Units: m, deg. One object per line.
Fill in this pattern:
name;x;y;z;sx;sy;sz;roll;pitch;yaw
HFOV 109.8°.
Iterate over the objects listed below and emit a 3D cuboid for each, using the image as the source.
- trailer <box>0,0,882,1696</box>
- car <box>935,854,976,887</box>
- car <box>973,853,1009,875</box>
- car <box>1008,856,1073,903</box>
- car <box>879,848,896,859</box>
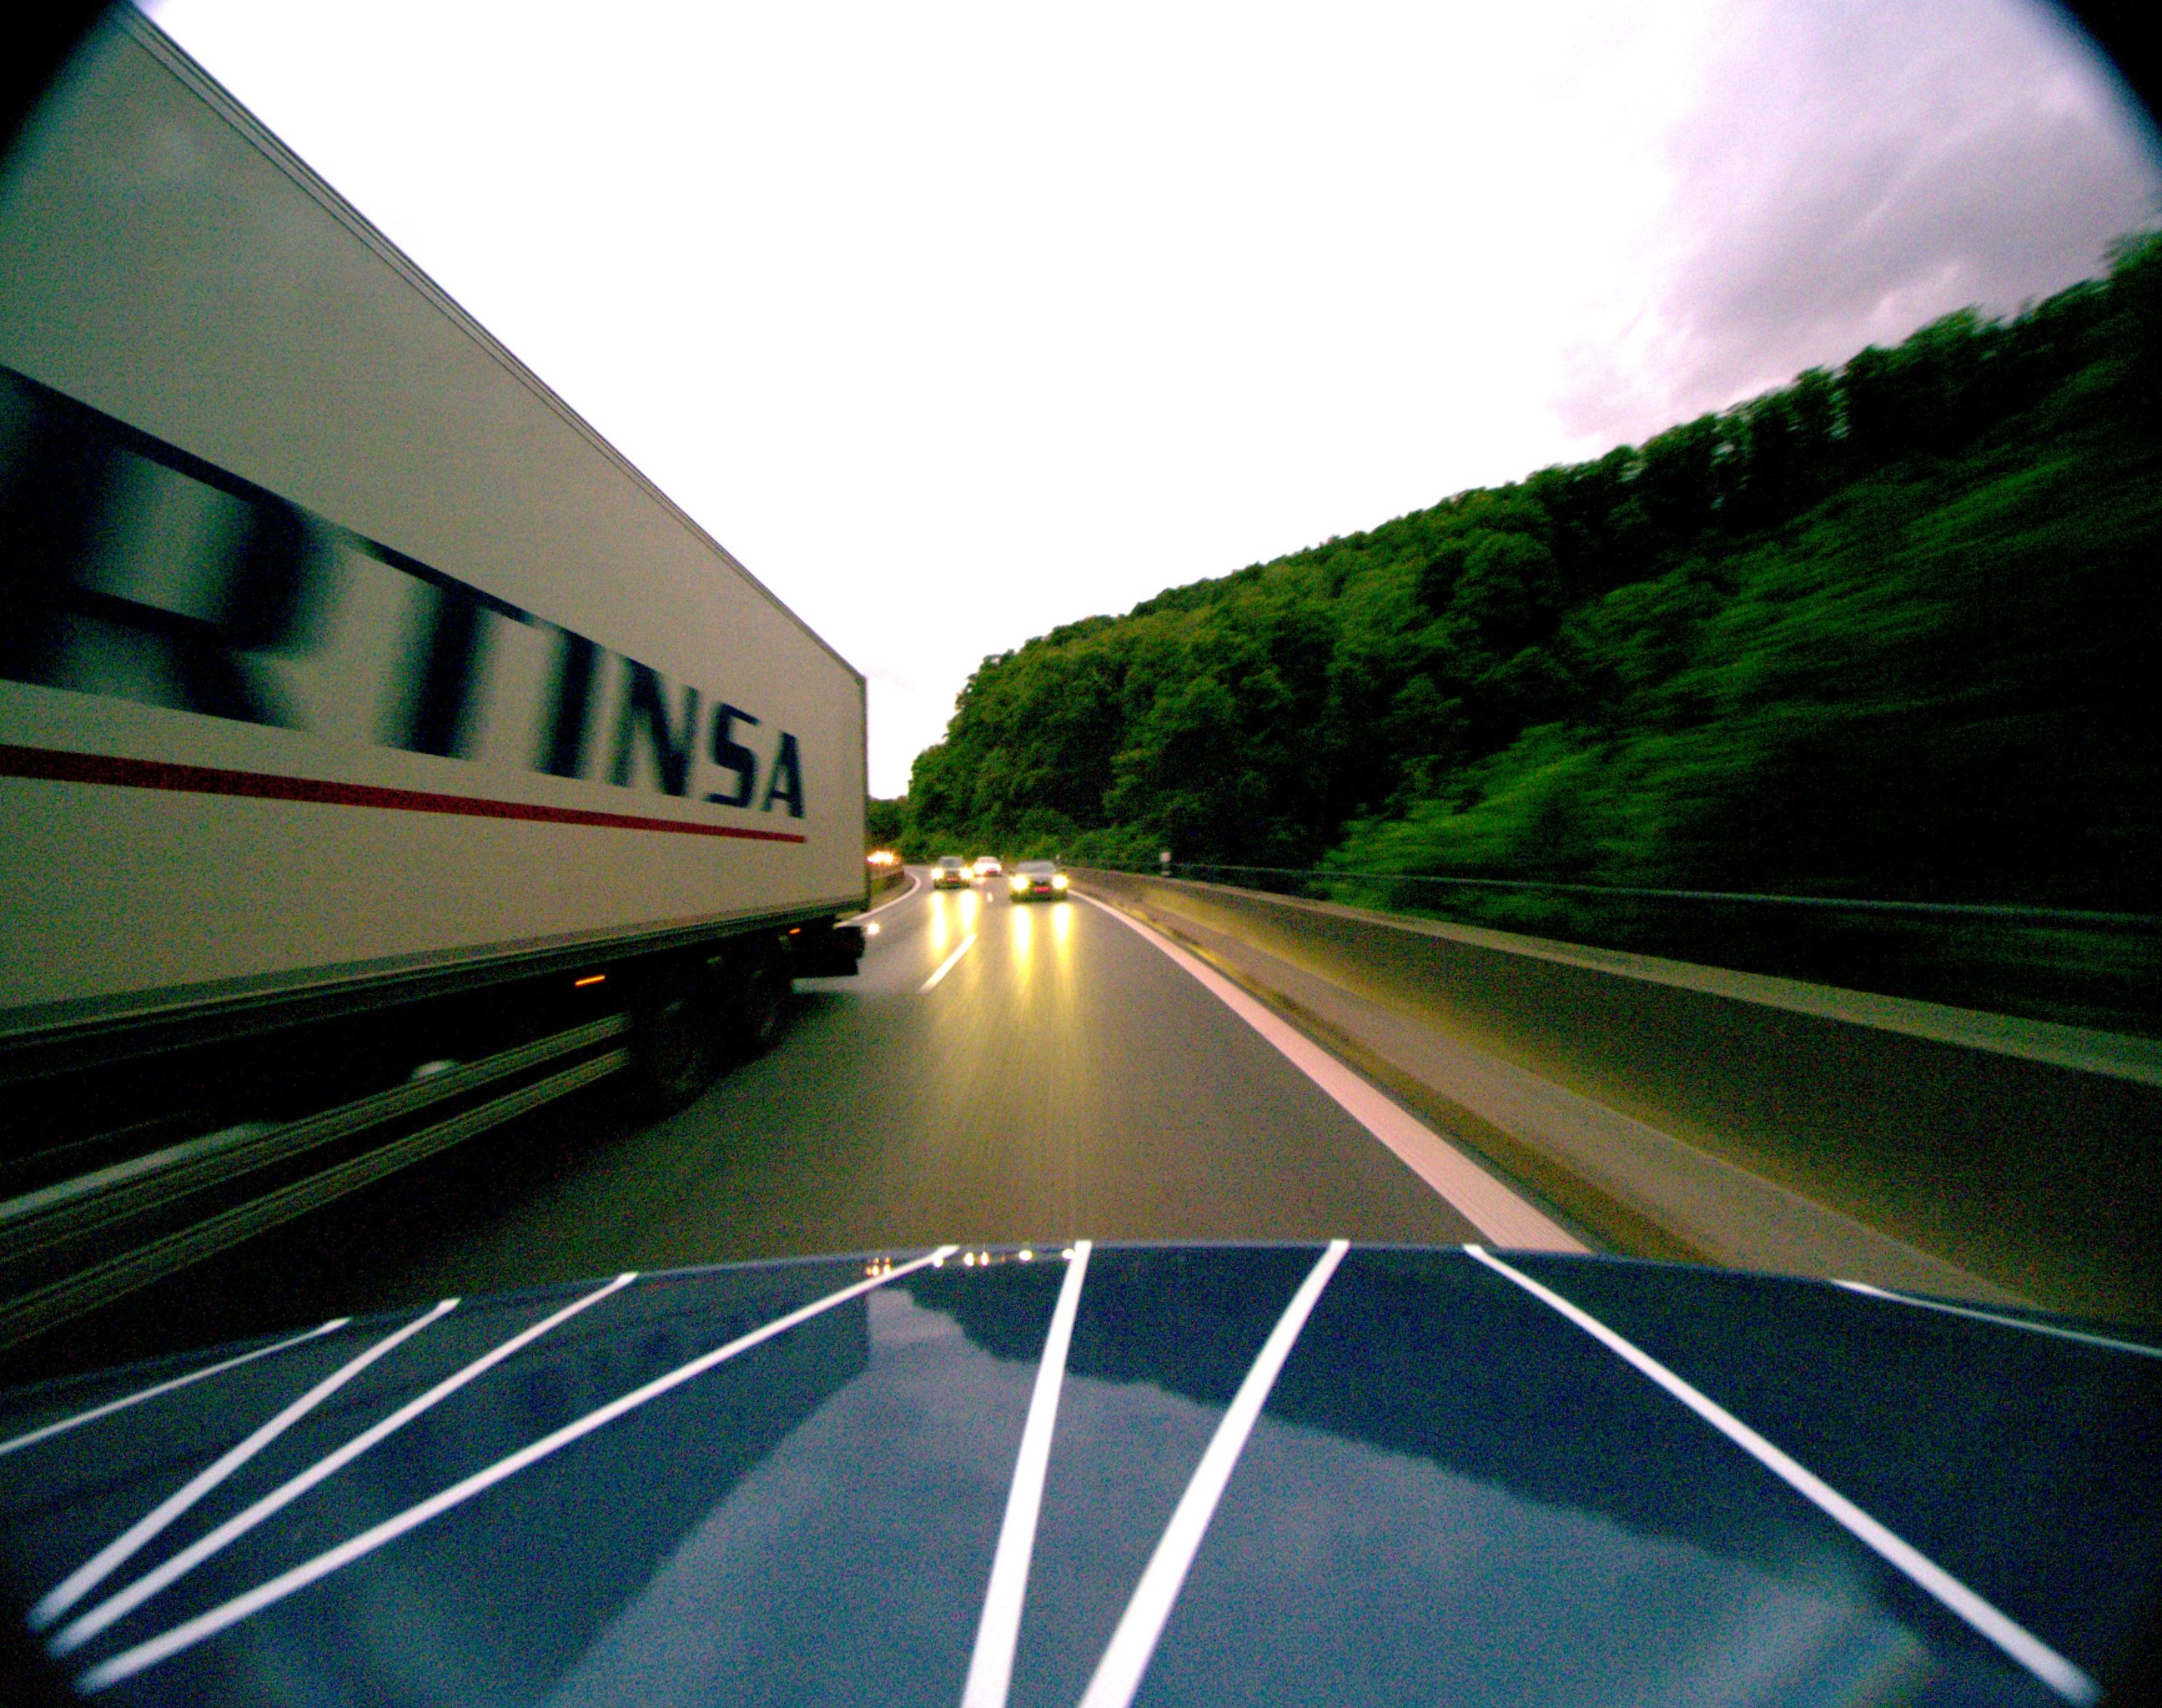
trailer;-3.907;-0.157;2.339;3.105;3.947;14.214;-1;0;-1
car;-6.710;0.839;40.440;2.000;1.630;3.996;-1;0;-11
car;-6.921;0.756;57.891;2.002;1.499;3.993;2;0;-17
car;-1.546;0.867;27.438;2.000;1.499;3.997;-1;1;-8
car;-28.884;-0.068;113.359;2.002;1.608;3.994;4;-1;-18
